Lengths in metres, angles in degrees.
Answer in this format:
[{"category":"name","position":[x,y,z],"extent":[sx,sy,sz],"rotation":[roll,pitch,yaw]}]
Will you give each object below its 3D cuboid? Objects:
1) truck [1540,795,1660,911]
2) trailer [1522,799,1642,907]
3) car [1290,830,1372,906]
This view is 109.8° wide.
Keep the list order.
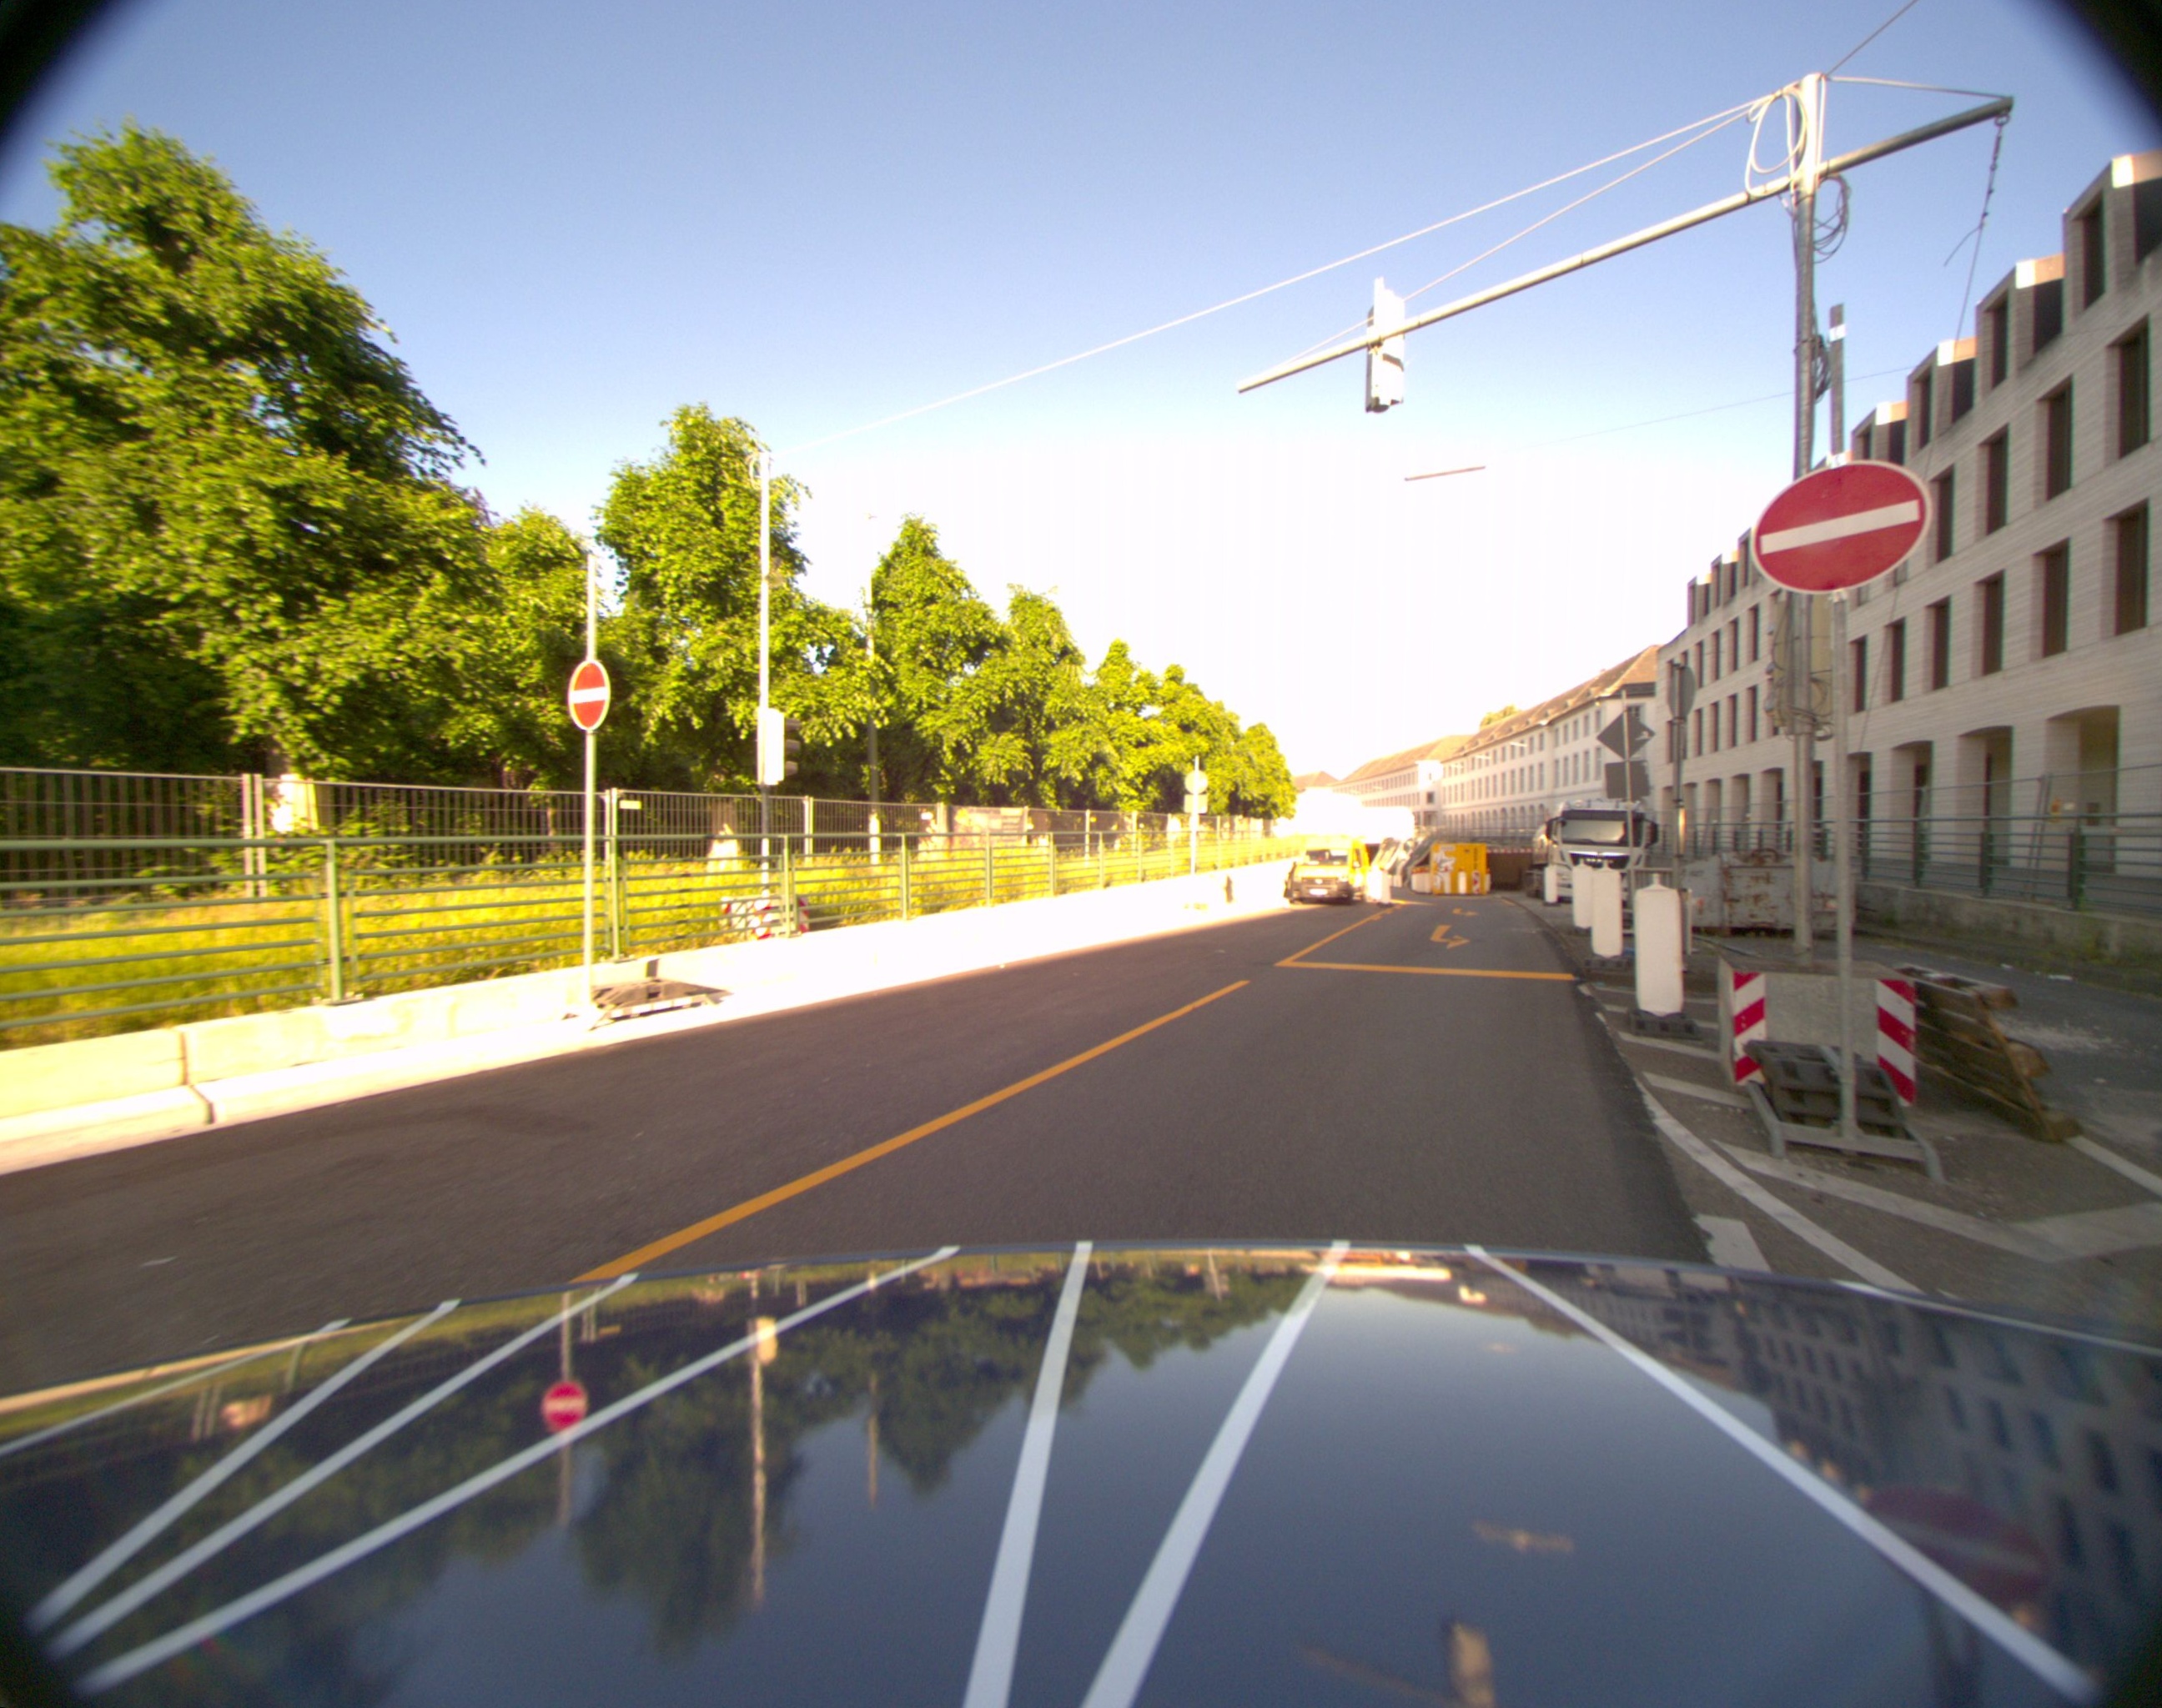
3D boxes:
[{"category":"truck","position":[17.690,-0.018,26.282],"extent":[2.580,3.469,5.827],"rotation":[4,1,28]},{"category":"trailer","position":[19.915,-0.021,30.726],"extent":[2.643,3.648,8.765],"rotation":[4,1,26]},{"category":"car","position":[9.840,0.520,29.425],"extent":[2.113,2.609,7.000],"rotation":[0,-1,26]}]
